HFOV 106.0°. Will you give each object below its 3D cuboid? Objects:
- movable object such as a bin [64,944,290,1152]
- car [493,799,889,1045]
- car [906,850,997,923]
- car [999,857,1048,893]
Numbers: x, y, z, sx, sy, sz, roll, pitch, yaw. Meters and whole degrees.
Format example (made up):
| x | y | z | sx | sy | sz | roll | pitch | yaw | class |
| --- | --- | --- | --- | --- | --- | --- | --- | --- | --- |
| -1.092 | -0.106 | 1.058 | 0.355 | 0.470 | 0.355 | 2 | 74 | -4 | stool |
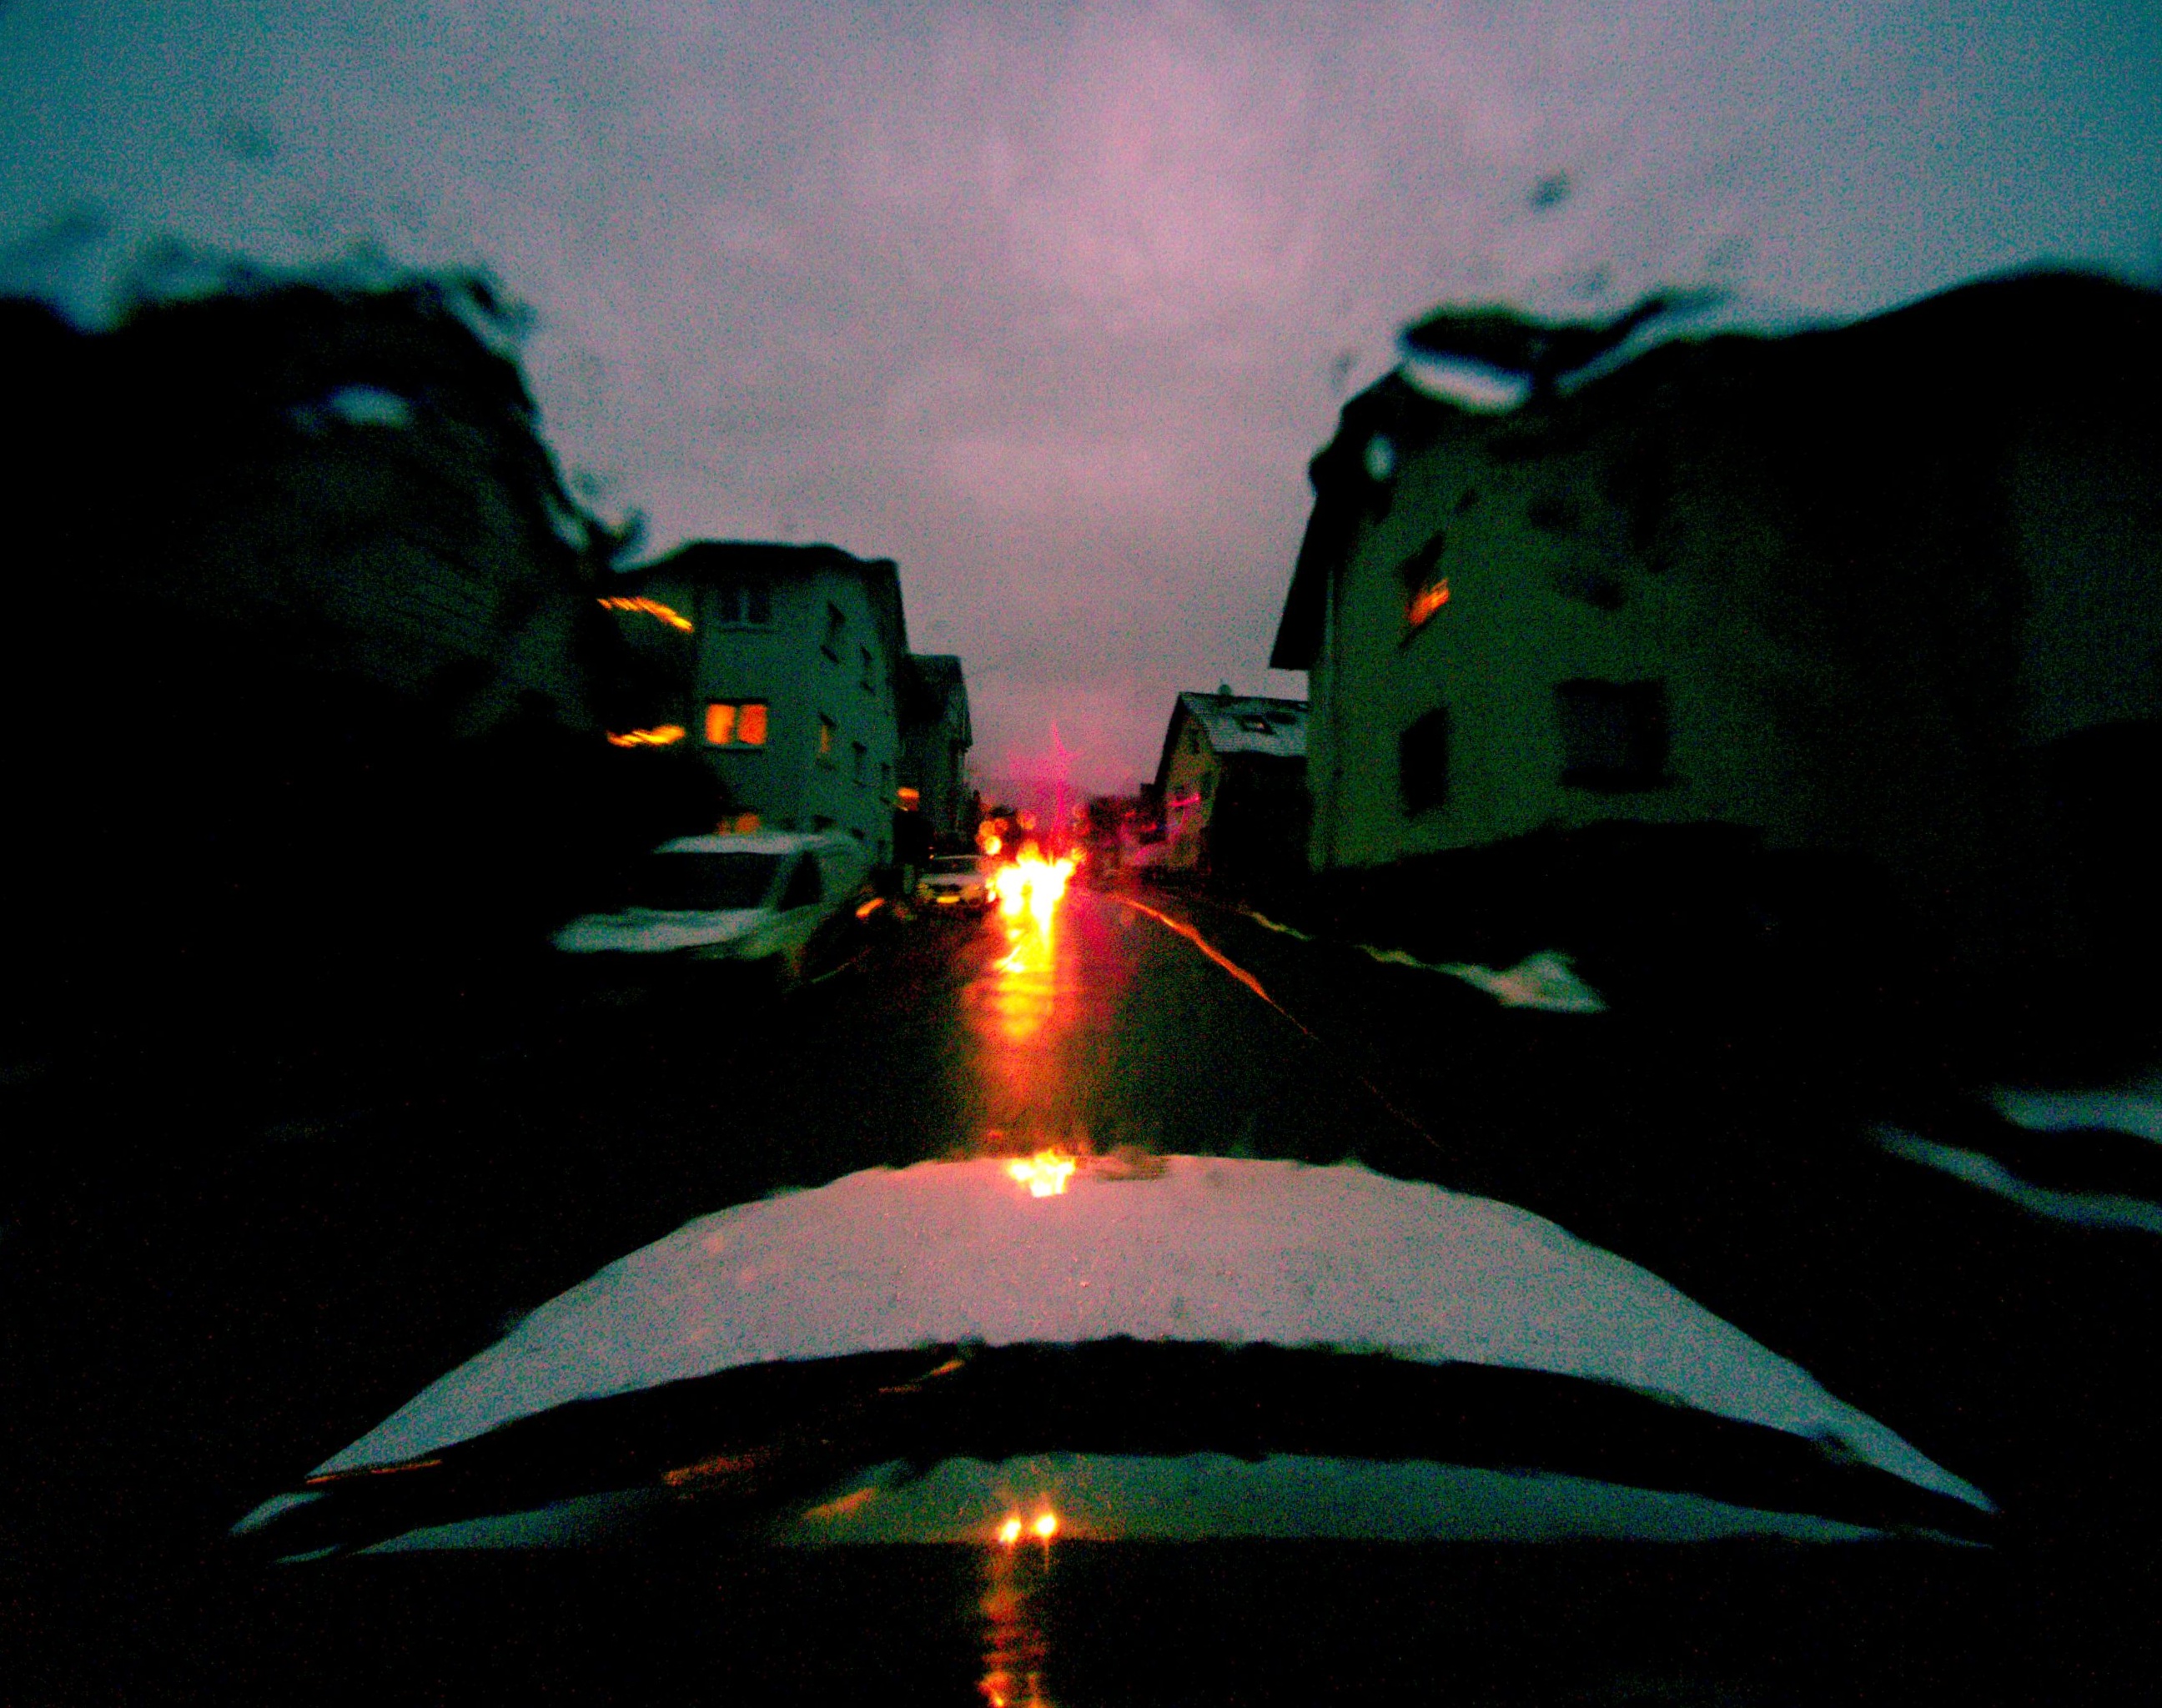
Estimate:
| x | y | z | sx | sy | sz | roll | pitch | yaw | class |
| --- | --- | --- | --- | --- | --- | --- | --- | --- | --- |
| -4.722 | 0.988 | 4.291 | 0.481 | 0.917 | 0.600 | 4 | 2 | -1 | movable object such as a bin |
| -3.460 | 0.525 | 8.316 | 1.819 | 1.835 | 4.346 | -1 | 0 | 2 | car |
| -3.441 | 0.815 | 22.399 | 1.989 | 1.800 | 3.996 | -1 | 0 | -2 | car |
| -2.817 | 1.059 | 40.699 | 1.986 | 1.650 | 4.001 | -1 | -2 | 2 | car |
